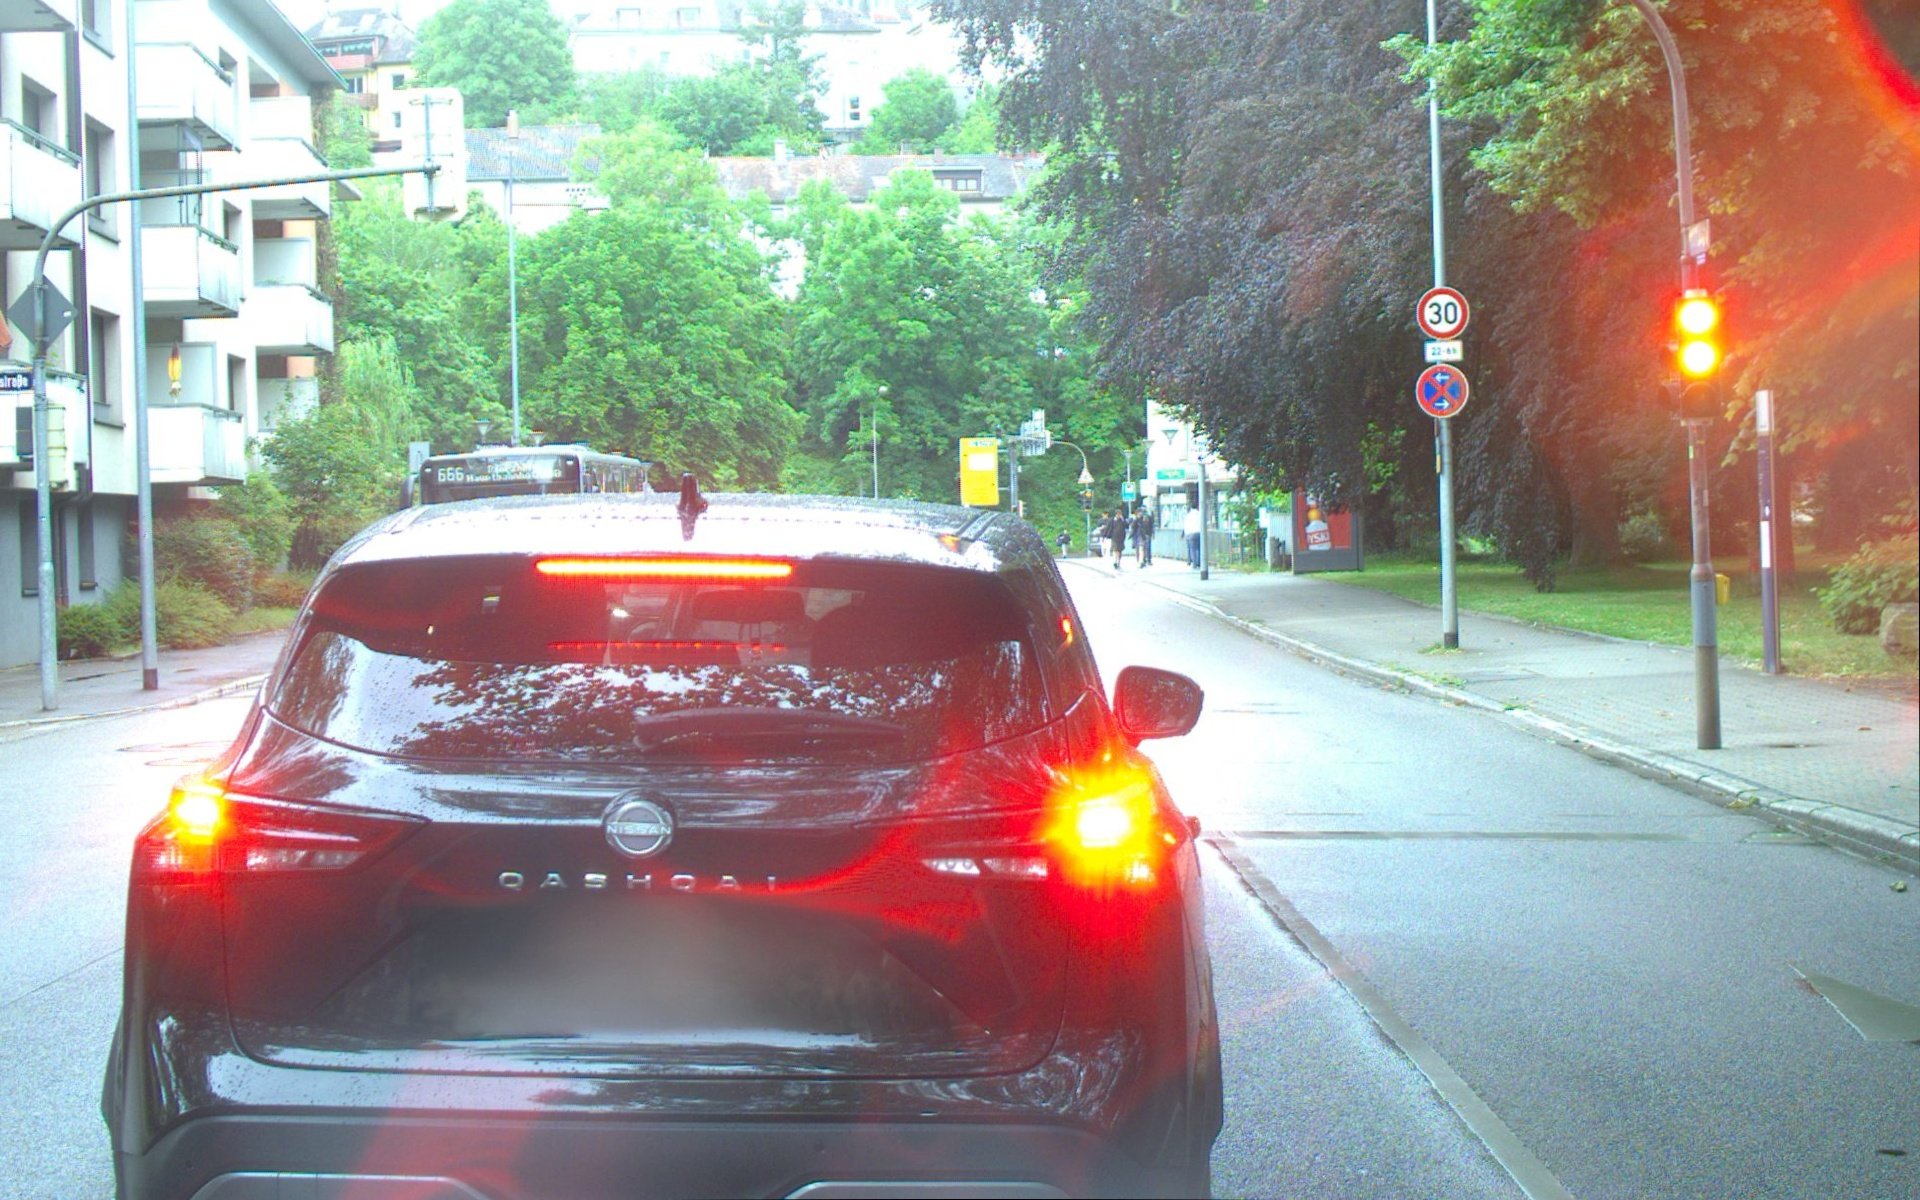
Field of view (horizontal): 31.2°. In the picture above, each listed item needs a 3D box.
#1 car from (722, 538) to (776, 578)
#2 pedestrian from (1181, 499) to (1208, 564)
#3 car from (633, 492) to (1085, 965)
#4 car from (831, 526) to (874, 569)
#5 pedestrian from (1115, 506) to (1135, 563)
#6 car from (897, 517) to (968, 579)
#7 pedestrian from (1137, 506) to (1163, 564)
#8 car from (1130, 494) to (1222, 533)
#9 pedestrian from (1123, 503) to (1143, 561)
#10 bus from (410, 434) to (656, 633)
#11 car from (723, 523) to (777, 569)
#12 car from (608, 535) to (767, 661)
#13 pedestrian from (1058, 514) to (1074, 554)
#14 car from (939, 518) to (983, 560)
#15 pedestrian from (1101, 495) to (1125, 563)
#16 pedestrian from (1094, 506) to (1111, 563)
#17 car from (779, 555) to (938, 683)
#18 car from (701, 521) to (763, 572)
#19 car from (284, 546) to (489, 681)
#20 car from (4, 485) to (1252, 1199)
[{"bbox_3d":[-7.309,-1.465,119.317,1.676,1.291,3.752,-3,1,-2],"label":"car"},{"bbox_3d":[6.456,-1.887,94.596,0.618,1.773,0.778,-2,1,-1],"label":"pedestrian"},{"bbox_3d":[-0.342,0.441,14.699,1.622,1.703,3.771,-2,1,1],"label":"car"},{"bbox_3d":[-5.214,-2.543,166.701,1.993,2.007,4.000,1,1,-1],"label":"car"},{"bbox_3d":[4.789,-1.889,99.725,0.544,1.645,0.490,1,0,0],"label":"pedestrian"},{"bbox_3d":[-0.657,-1.263,83.162,1.624,1.410,3.455,-2,1,0],"label":"car"},{"bbox_3d":[5.505,-1.878,99.651,0.699,1.645,0.628,1,0,0],"label":"pedestrian"},{"bbox_3d":[10.310,-4.138,164.391,3.986,1.678,2.001,-2,1,-10],"label":"car"},{"bbox_3d":[4.938,-1.943,98.036,0.514,1.650,0.550,1,0,-1],"label":"pedestrian"},{"bbox_3d":[-7.042,-1.116,58.433,2.766,2.964,11.782,-2,1,-1],"label":"bus"},{"bbox_3d":[-7.869,-2.049,128.826,1.750,1.628,3.635,-2,1,0],"label":"car"},{"bbox_3d":[-3.310,-0.056,42.289,1.624,1.410,3.455,-2,1,0],"label":"car"},{"bbox_3d":[5.407,-3.392,175.606,0.699,2.007,0.583,-2,1,-1],"label":"pedestrian"},{"bbox_3d":[0.034,-2.519,140.843,1.750,1.628,3.635,-2,1,0],"label":"car"},{"bbox_3d":[4.917,-2.270,110.476,0.768,2.176,0.711,1,0,3],"label":"pedestrian"},{"bbox_3d":[4.134,-1.898,99.793,0.475,1.645,0.490,1,0,0],"label":"pedestrian"},{"bbox_3d":[-1.214,0.192,41.113,1.808,1.412,4.031,0,1,-2],"label":"car"},{"bbox_3d":[-7.040,-1.671,106.335,1.676,1.464,4.217,-3,1,-2],"label":"car"},{"bbox_3d":[-6.775,0.123,40.991,1.808,1.412,4.031,-3,1,-2],"label":"car"},{"bbox_3d":[-0.510,0.617,7.015,1.806,1.584,4.000,1,1,-1],"label":"car"}]
